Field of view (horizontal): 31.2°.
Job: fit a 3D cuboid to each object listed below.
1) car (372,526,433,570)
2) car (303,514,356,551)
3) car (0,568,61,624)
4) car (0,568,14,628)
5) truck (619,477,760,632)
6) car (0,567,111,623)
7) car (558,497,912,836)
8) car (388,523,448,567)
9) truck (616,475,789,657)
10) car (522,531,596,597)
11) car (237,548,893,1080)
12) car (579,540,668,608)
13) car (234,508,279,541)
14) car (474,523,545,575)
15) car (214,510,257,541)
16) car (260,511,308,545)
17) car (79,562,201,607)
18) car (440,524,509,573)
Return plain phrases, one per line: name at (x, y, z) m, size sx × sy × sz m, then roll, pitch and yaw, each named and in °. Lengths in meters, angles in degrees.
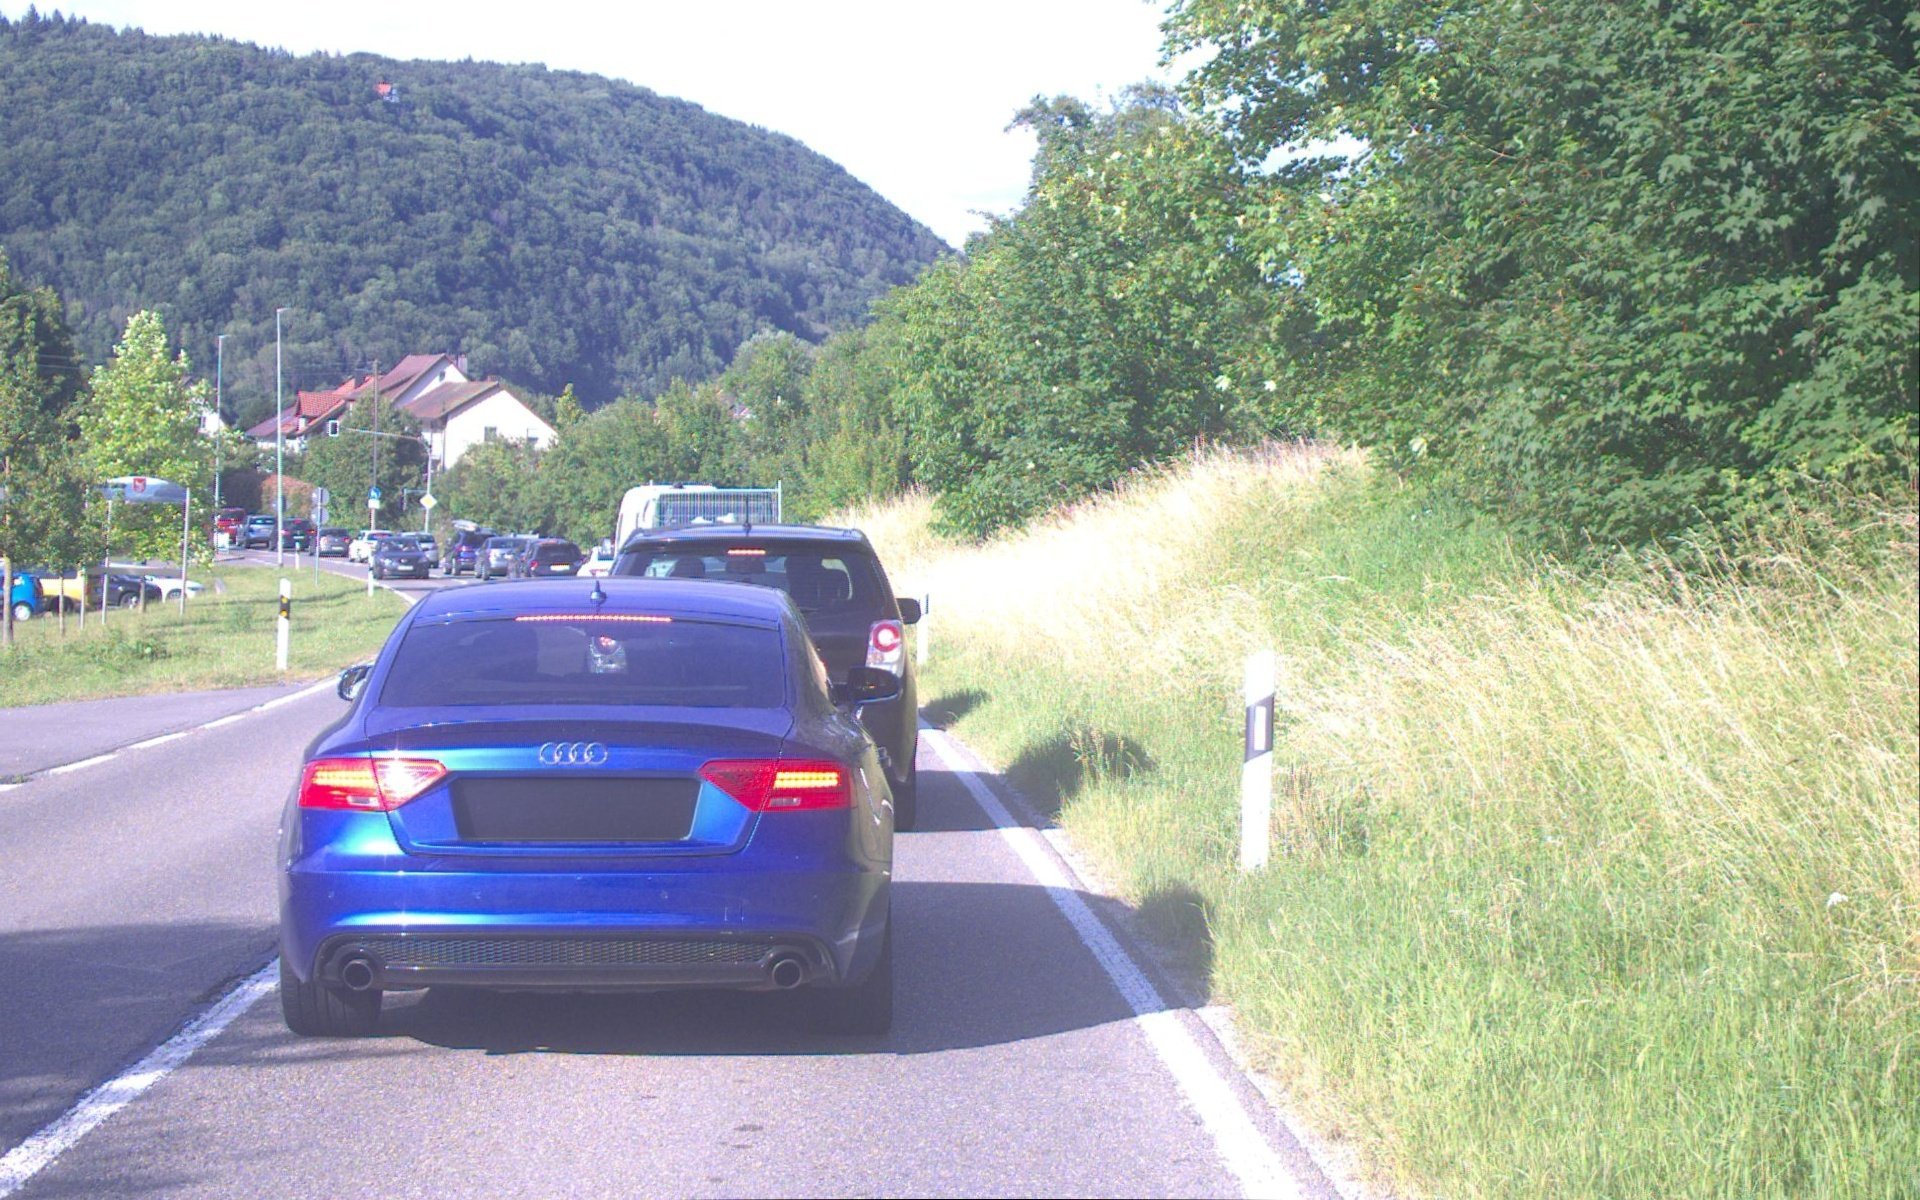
car at (-18.876, -1.752, 116.297) m, size 1.703 × 1.425 × 4.052 m, roll 1°, pitch 1°, yaw -14°
car at (-30.249, -3.227, 164.842) m, size 1.845 × 1.706 × 4.001 m, roll 1°, pitch 1°, yaw -20°
car at (-29.875, -0.146, 105.682) m, size 3.986 × 1.705 × 2.000 m, roll 1°, pitch 0°, yaw -4°
car at (-29.730, -0.090, 99.896) m, size 3.986 × 1.705 × 2.000 m, roll 1°, pitch 0°, yaw -4°
truck at (-4.837, -0.795, 60.687) m, size 2.229 × 2.561 × 6.709 m, roll 1°, pitch 1°, yaw -6°
car at (-28.949, -0.159, 108.289) m, size 3.986 × 1.705 × 2.000 m, roll 1°, pitch 0°, yaw -4°
car at (-1.160, 0.315, 19.130) m, size 1.754 × 1.675 × 3.847 m, roll 1°, pitch 1°, yaw -1°
car at (-21.826, -2.217, 138.310) m, size 1.845 × 1.706 × 4.001 m, roll 1°, pitch 1°, yaw -17°
truck at (-3.819, -0.516, 52.092) m, size 2.230 × 2.561 × 6.104 m, roll 1°, pitch 1°, yaw -1°
car at (-10.728, -0.973, 91.818) m, size 1.845 × 1.706 × 4.001 m, roll 1°, pitch 1°, yaw -8°
car at (-1.109, 0.564, 11.258) m, size 1.754 × 1.425 × 3.847 m, roll 1°, pitch 1°, yaw -1°
car at (-7.705, -0.600, 78.406) m, size 1.845 × 1.477 × 4.001 m, roll 1°, pitch 1°, yaw -8°
car at (-38.288, -4.087, 187.108) m, size 1.845 × 1.706 × 4.001 m, roll 1°, pitch 1°, yaw -20°
car at (-15.249, -1.719, 116.318) m, size 1.845 × 1.706 × 4.001 m, roll 1°, pitch 1°, yaw -15°
car at (-41.555, -4.252, 197.212) m, size 1.845 × 1.706 × 4.001 m, roll 1°, pitch 1°, yaw -20°
car at (-34.916, -3.717, 177.481) m, size 1.845 × 1.706 × 4.001 m, roll 1°, pitch 1°, yaw -20°
car at (-29.265, -0.561, 122.723) m, size 3.986 × 1.573 × 1.753 m, roll 1°, pitch 0°, yaw -4°
car at (-17.486, -1.858, 123.754) m, size 1.845 × 1.706 × 4.001 m, roll 1°, pitch 1°, yaw -17°
